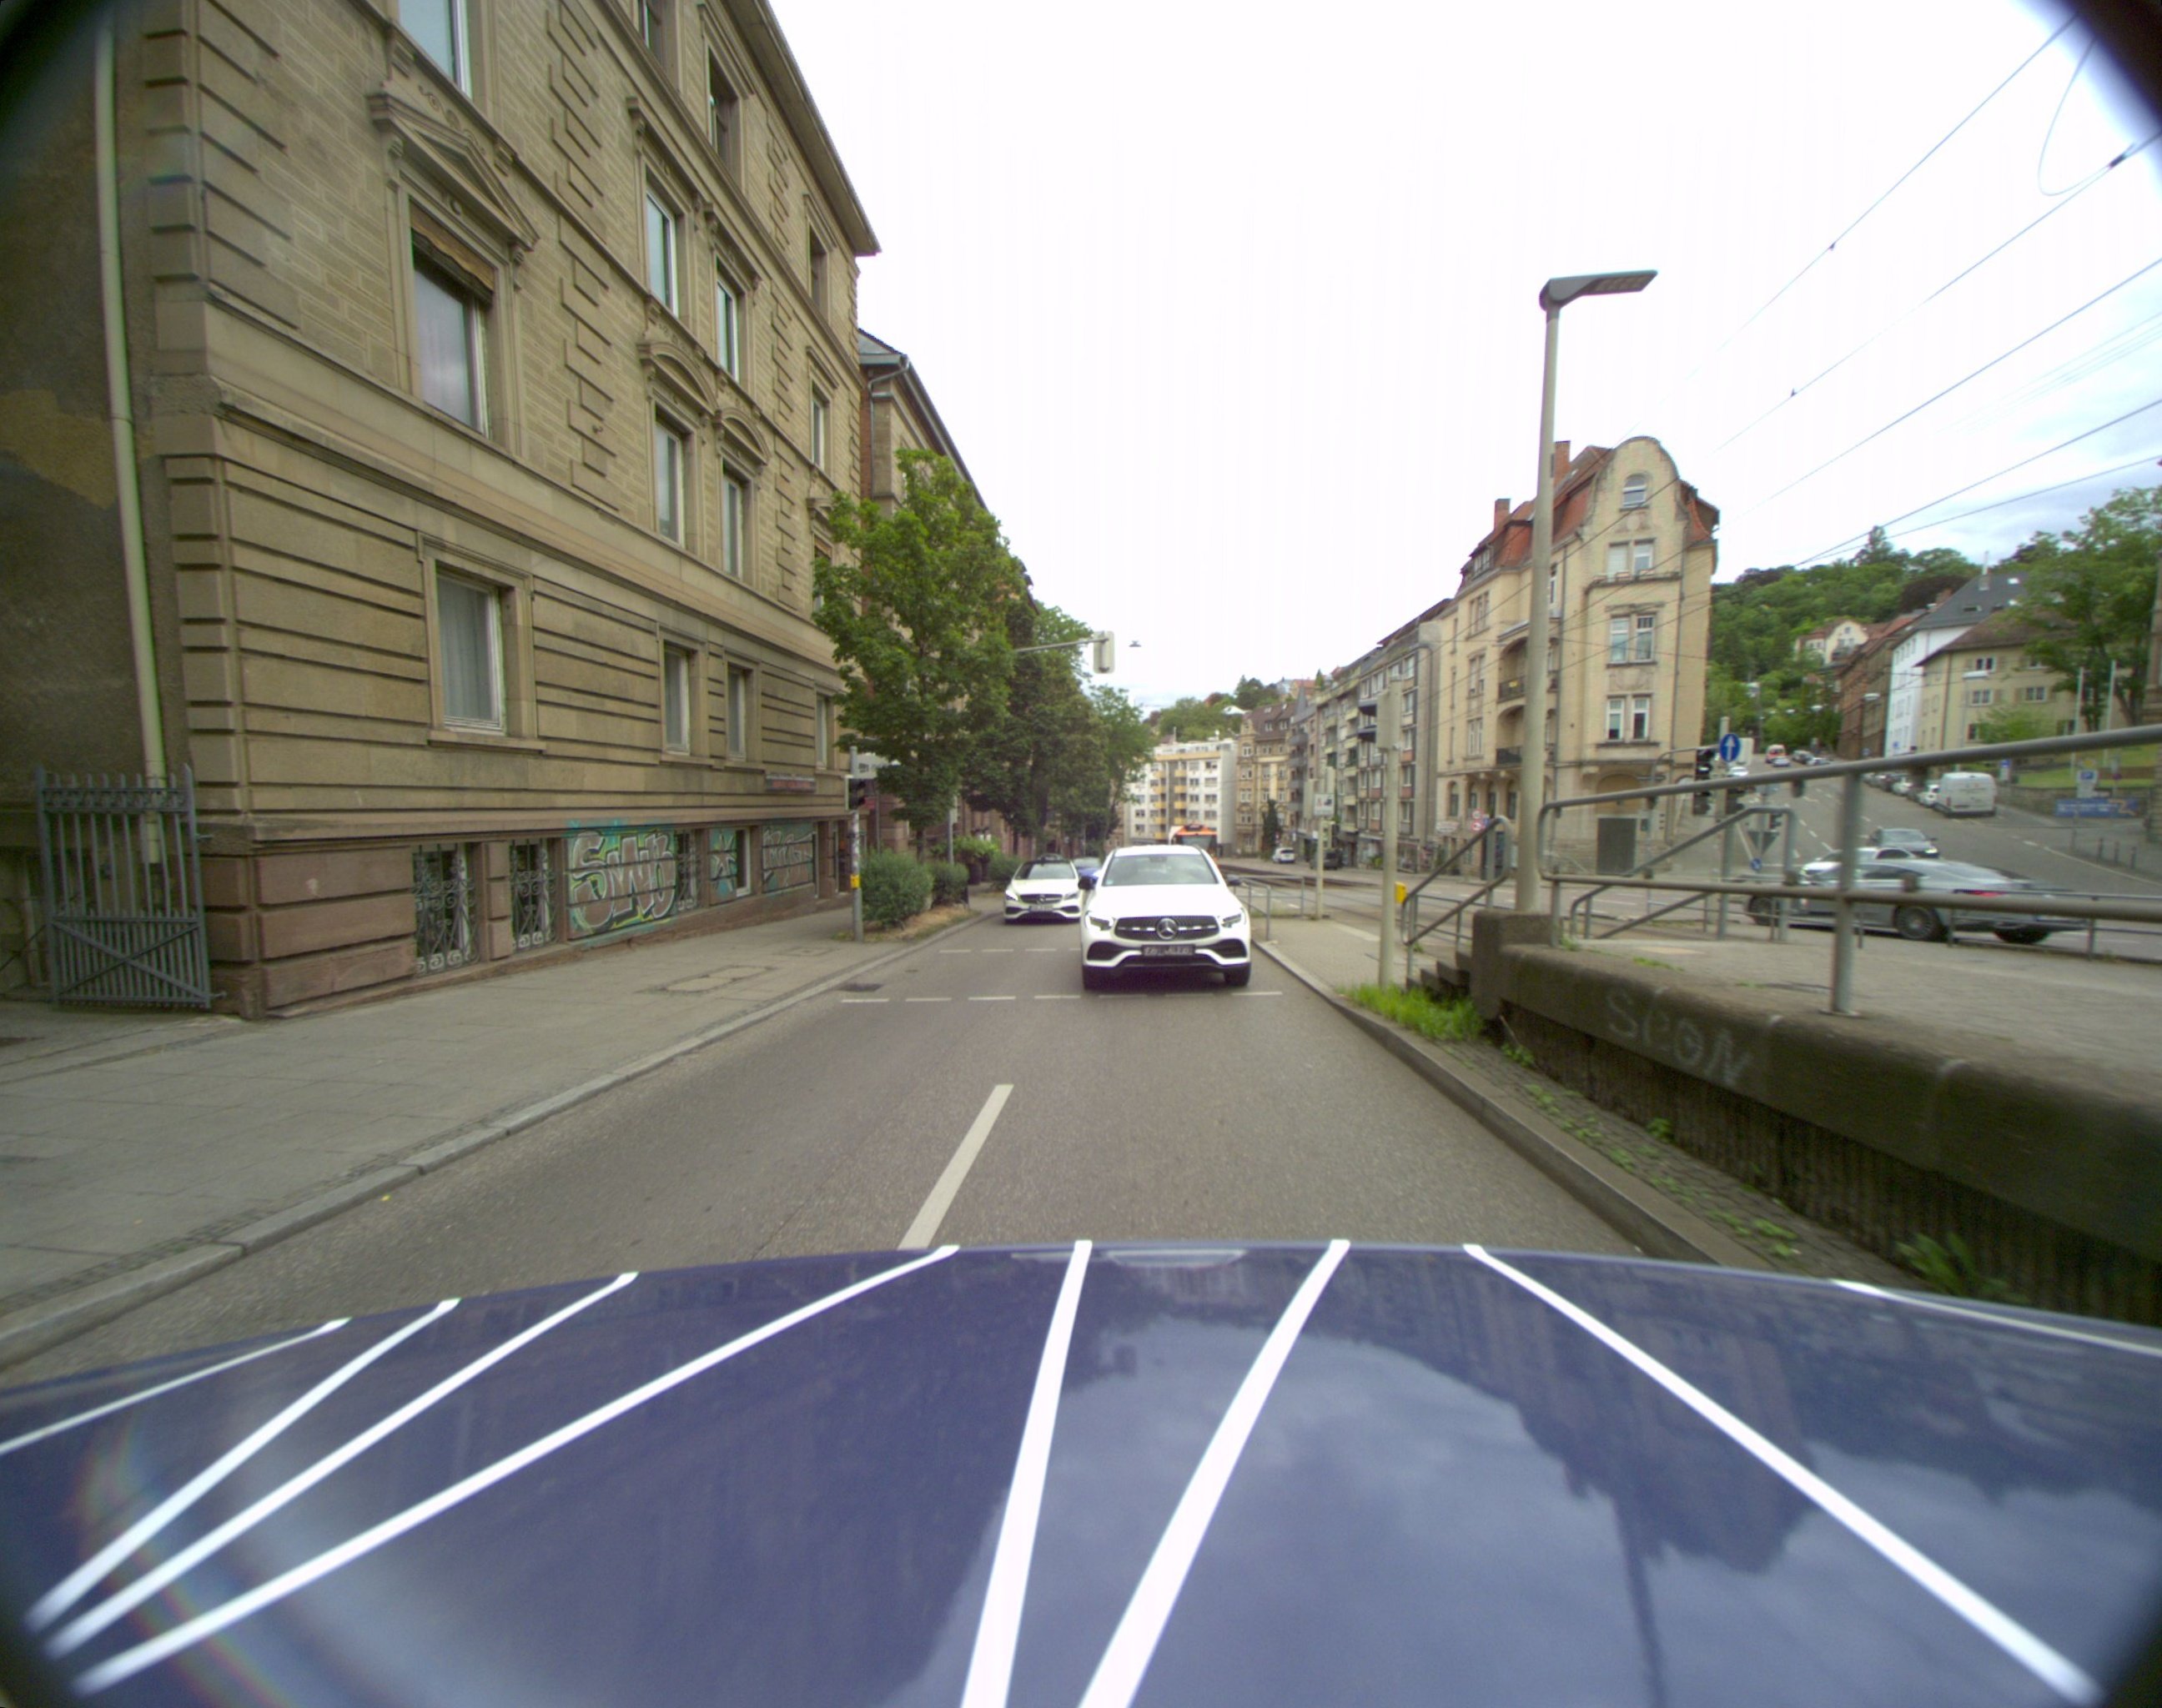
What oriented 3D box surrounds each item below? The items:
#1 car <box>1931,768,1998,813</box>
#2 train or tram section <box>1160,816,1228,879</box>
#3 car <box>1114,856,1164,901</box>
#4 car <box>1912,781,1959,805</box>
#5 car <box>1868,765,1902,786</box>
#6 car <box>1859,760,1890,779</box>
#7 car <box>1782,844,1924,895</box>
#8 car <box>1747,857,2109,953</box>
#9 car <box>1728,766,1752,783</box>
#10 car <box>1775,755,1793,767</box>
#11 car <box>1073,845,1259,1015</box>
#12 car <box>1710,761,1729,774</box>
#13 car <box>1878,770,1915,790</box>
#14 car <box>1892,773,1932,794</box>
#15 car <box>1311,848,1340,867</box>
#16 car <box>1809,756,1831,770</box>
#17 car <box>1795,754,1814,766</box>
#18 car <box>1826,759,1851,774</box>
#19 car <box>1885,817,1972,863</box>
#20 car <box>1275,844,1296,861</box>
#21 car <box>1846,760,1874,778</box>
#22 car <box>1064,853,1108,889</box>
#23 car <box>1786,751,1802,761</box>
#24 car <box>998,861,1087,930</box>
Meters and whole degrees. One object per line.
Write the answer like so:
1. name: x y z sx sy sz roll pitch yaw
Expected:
1. car: 55.498 -4.002 47.803 1.994 2.465 4.004 0 7 39
2. train or tram section: 6.984 -0.412 49.072 2.967 3.456 14.410 0 0 3
3. car: 2.269 0.903 29.778 1.805 1.542 4.001 -1 0 4
4. car: 59.315 -4.253 52.803 1.642 1.425 3.313 0 7 39
5. car: 71.970 -7.072 68.083 1.642 1.589 3.313 0 7 39
6. car: 76.882 -8.183 73.652 1.642 1.589 3.313 0 7 39
7. car: 27.679 0.504 27.263 4.003 1.700 1.997 -1 1 -18
8. car: 14.919 0.797 13.861 1.850 1.438 4.381 0 0 3
9. car: 74.923 -9.096 86.445 1.938 1.630 4.004 0 7 39
10. car: 99.531 -13.237 107.622 1.642 1.453 3.313 0 7 39
11. car: 1.012 0.763 10.135 1.840 1.657 4.671 -2 1 3
12. car: 92.643 -12.526 110.263 1.938 1.630 4.004 0 7 39
13. car: 68.401 -6.246 63.755 1.642 1.425 3.313 0 7 39
14. car: 65.954 -5.599 60.367 1.642 1.425 3.313 0 7 39
15. car: 23.690 0.279 73.638 1.849 1.772 4.382 0 0 6
16. car: 92.085 -11.329 94.667 1.642 1.453 3.313 0 7 39
17. car: 102.881 -13.372 108.117 1.642 1.453 3.313 0 7 39
18. car: 85.933 -9.929 86.238 1.642 1.436 3.313 0 7 39
19. car: 38.291 -0.680 34.442 1.994 1.667 4.005 0 6 39
20. car: 25.054 -0.179 93.109 1.849 1.963 4.052 0 0 5
21. car: 79.961 -8.728 78.017 1.642 1.589 3.313 0 7 39
22. car: 0.268 0.716 34.375 1.694 1.466 3.858 0 1 5
23. car: 111.172 -15.292 118.492 1.642 1.453 3.313 0 7 39
24. car: -0.801 0.907 18.312 1.806 1.392 4.000 -1 0 2
